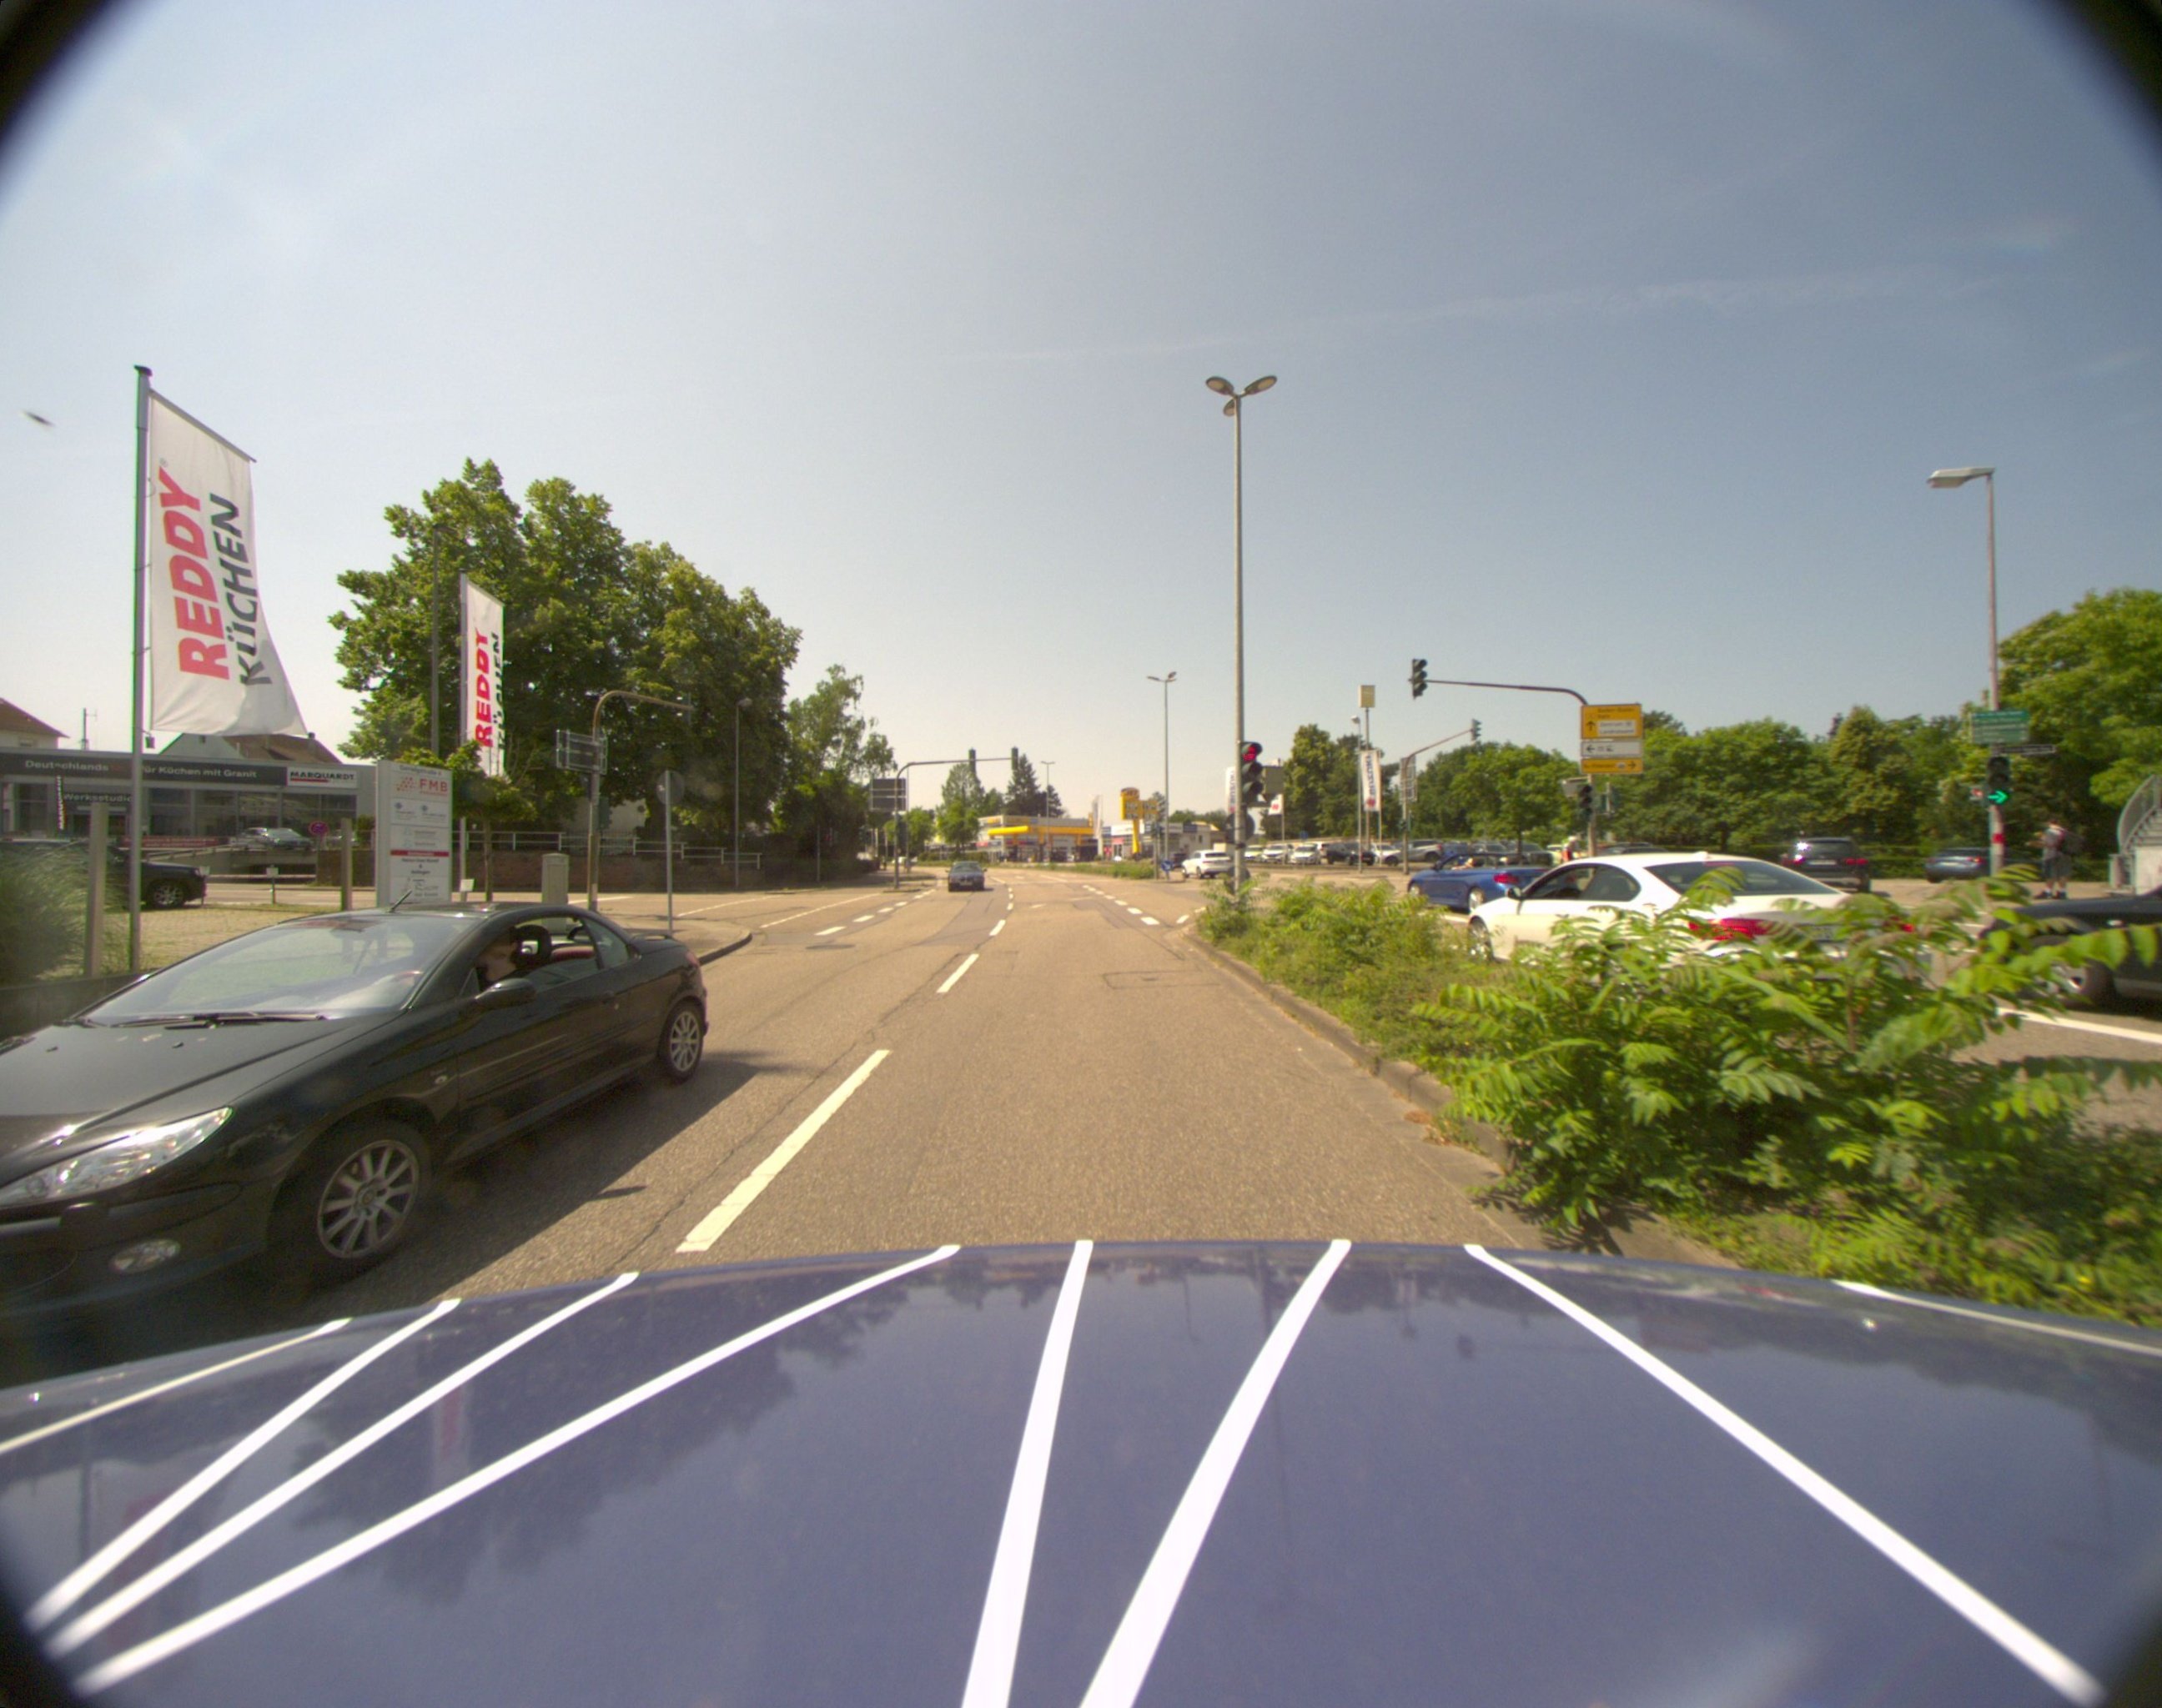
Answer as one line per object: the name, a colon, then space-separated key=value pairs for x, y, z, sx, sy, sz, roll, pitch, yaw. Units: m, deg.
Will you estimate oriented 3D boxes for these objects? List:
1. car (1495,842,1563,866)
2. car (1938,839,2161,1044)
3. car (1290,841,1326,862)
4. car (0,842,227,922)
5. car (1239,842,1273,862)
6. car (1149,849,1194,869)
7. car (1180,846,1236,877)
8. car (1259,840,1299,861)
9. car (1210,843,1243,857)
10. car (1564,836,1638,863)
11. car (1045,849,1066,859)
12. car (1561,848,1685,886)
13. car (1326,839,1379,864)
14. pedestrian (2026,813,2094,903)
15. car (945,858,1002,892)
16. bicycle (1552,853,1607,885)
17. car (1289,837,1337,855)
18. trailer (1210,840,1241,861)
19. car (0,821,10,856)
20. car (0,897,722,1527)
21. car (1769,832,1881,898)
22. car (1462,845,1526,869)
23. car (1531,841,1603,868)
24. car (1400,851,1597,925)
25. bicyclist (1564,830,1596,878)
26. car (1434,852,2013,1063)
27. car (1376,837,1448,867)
car: x=30.007 y=0.002 z=51.018 sx=1.841 sy=1.561 sz=3.996 roll=0 pitch=1 yaw=-8
car: x=8.582 y=0.621 z=4.571 sx=1.806 sy=1.431 sz=4.577 roll=-2 pitch=0 yaw=2
car: x=17.070 y=-0.226 z=57.113 sx=1.711 sy=1.424 sz=3.969 roll=0 pitch=2 yaw=30
car: x=-22.751 y=0.575 z=17.177 sx=1.541 sy=1.666 sz=4.333 roll=-1 pitch=0 yaw=12
car: x=14.254 y=-0.160 z=61.806 sx=1.753 sy=1.501 sz=3.826 roll=-1 pitch=1 yaw=27
car: x=7.049 y=0.390 z=59.455 sx=2.005 sy=1.477 sz=4.435 roll=-1 pitch=1 yaw=-15
car: x=7.116 y=0.393 z=42.931 sx=1.822 sy=1.561 sz=4.552 roll=-3 pitch=1 yaw=-7
car: x=15.550 y=-0.296 z=59.522 sx=1.913 sy=1.532 sz=3.969 roll=-1 pitch=1 yaw=32
car: x=16.098 y=-0.396 z=84.116 sx=1.696 sy=1.497 sz=3.623 roll=-1 pitch=1 yaw=-26
car: x=34.701 y=-0.328 z=50.846 sx=1.868 sy=1.674 sz=3.997 roll=-2 pitch=1 yaw=-7
car: x=-4.148 y=0.054 z=121.540 sx=1.659 sy=1.534 sz=4.204 roll=-3 pitch=1 yaw=-28
car: x=25.822 y=0.611 z=36.278 sx=4.761 sy=1.601 sz=1.761 roll=-2 pitch=1 yaw=-3
car: x=19.375 y=-0.220 z=54.402 sx=1.846 sy=1.714 sz=4.010 roll=-1 pitch=2 yaw=-9
pedestrian: x=22.360 y=0.103 z=17.363 sx=0.504 sy=2.001 sz=0.742 roll=-2 pitch=-1 yaw=-6
car: x=-4.925 y=0.933 z=35.191 sx=1.697 sy=1.365 sz=4.001 roll=0 pitch=1 yaw=6
bicycle: x=17.147 y=0.508 z=26.177 sx=0.422 sy=1.048 sz=1.787 roll=-2 pitch=1 yaw=-12
car: x=22.892 y=-0.774 z=75.069 sx=1.697 sy=1.640 sz=4.747 roll=-2 pitch=1 yaw=-28
trailer: x=12.441 y=-0.327 z=65.373 sx=1.689 sy=1.694 sz=2.439 roll=-1 pitch=1 yaw=39
car: x=-63.958 y=-0.953 z=42.638 sx=4.008 sy=2.001 sz=1.995 roll=2 pitch=-1 yaw=-36
car: x=-3.522 y=1.052 z=3.802 sx=1.604 sy=1.416 sz=3.661 roll=-2 pitch=0 yaw=1
car: x=21.719 y=0.284 z=22.367 sx=1.993 sy=1.647 sz=4.604 roll=4 pitch=3 yaw=41
car: x=27.677 y=0.169 z=51.059 sx=1.796 sy=1.528 sz=3.997 roll=-2 pitch=1 yaw=-7
car: x=32.352 y=-0.004 z=50.680 sx=1.907 sy=1.697 sz=3.997 roll=-2 pitch=1 yaw=-7
car: x=8.855 y=0.639 z=16.631 sx=1.868 sy=1.358 sz=4.346 roll=-1 pitch=0 yaw=-1
bicyclist: x=17.144 y=0.009 z=26.124 sx=0.422 sy=1.633 sz=0.820 roll=-2 pitch=0 yaw=-12
car: x=5.600 y=0.719 z=7.687 sx=1.867 sy=1.422 sz=4.744 roll=-2 pitch=0 yaw=1
car: x=22.315 y=-0.179 z=51.219 sx=4.297 sy=1.891 sz=1.832 roll=1 pitch=2 yaw=28
